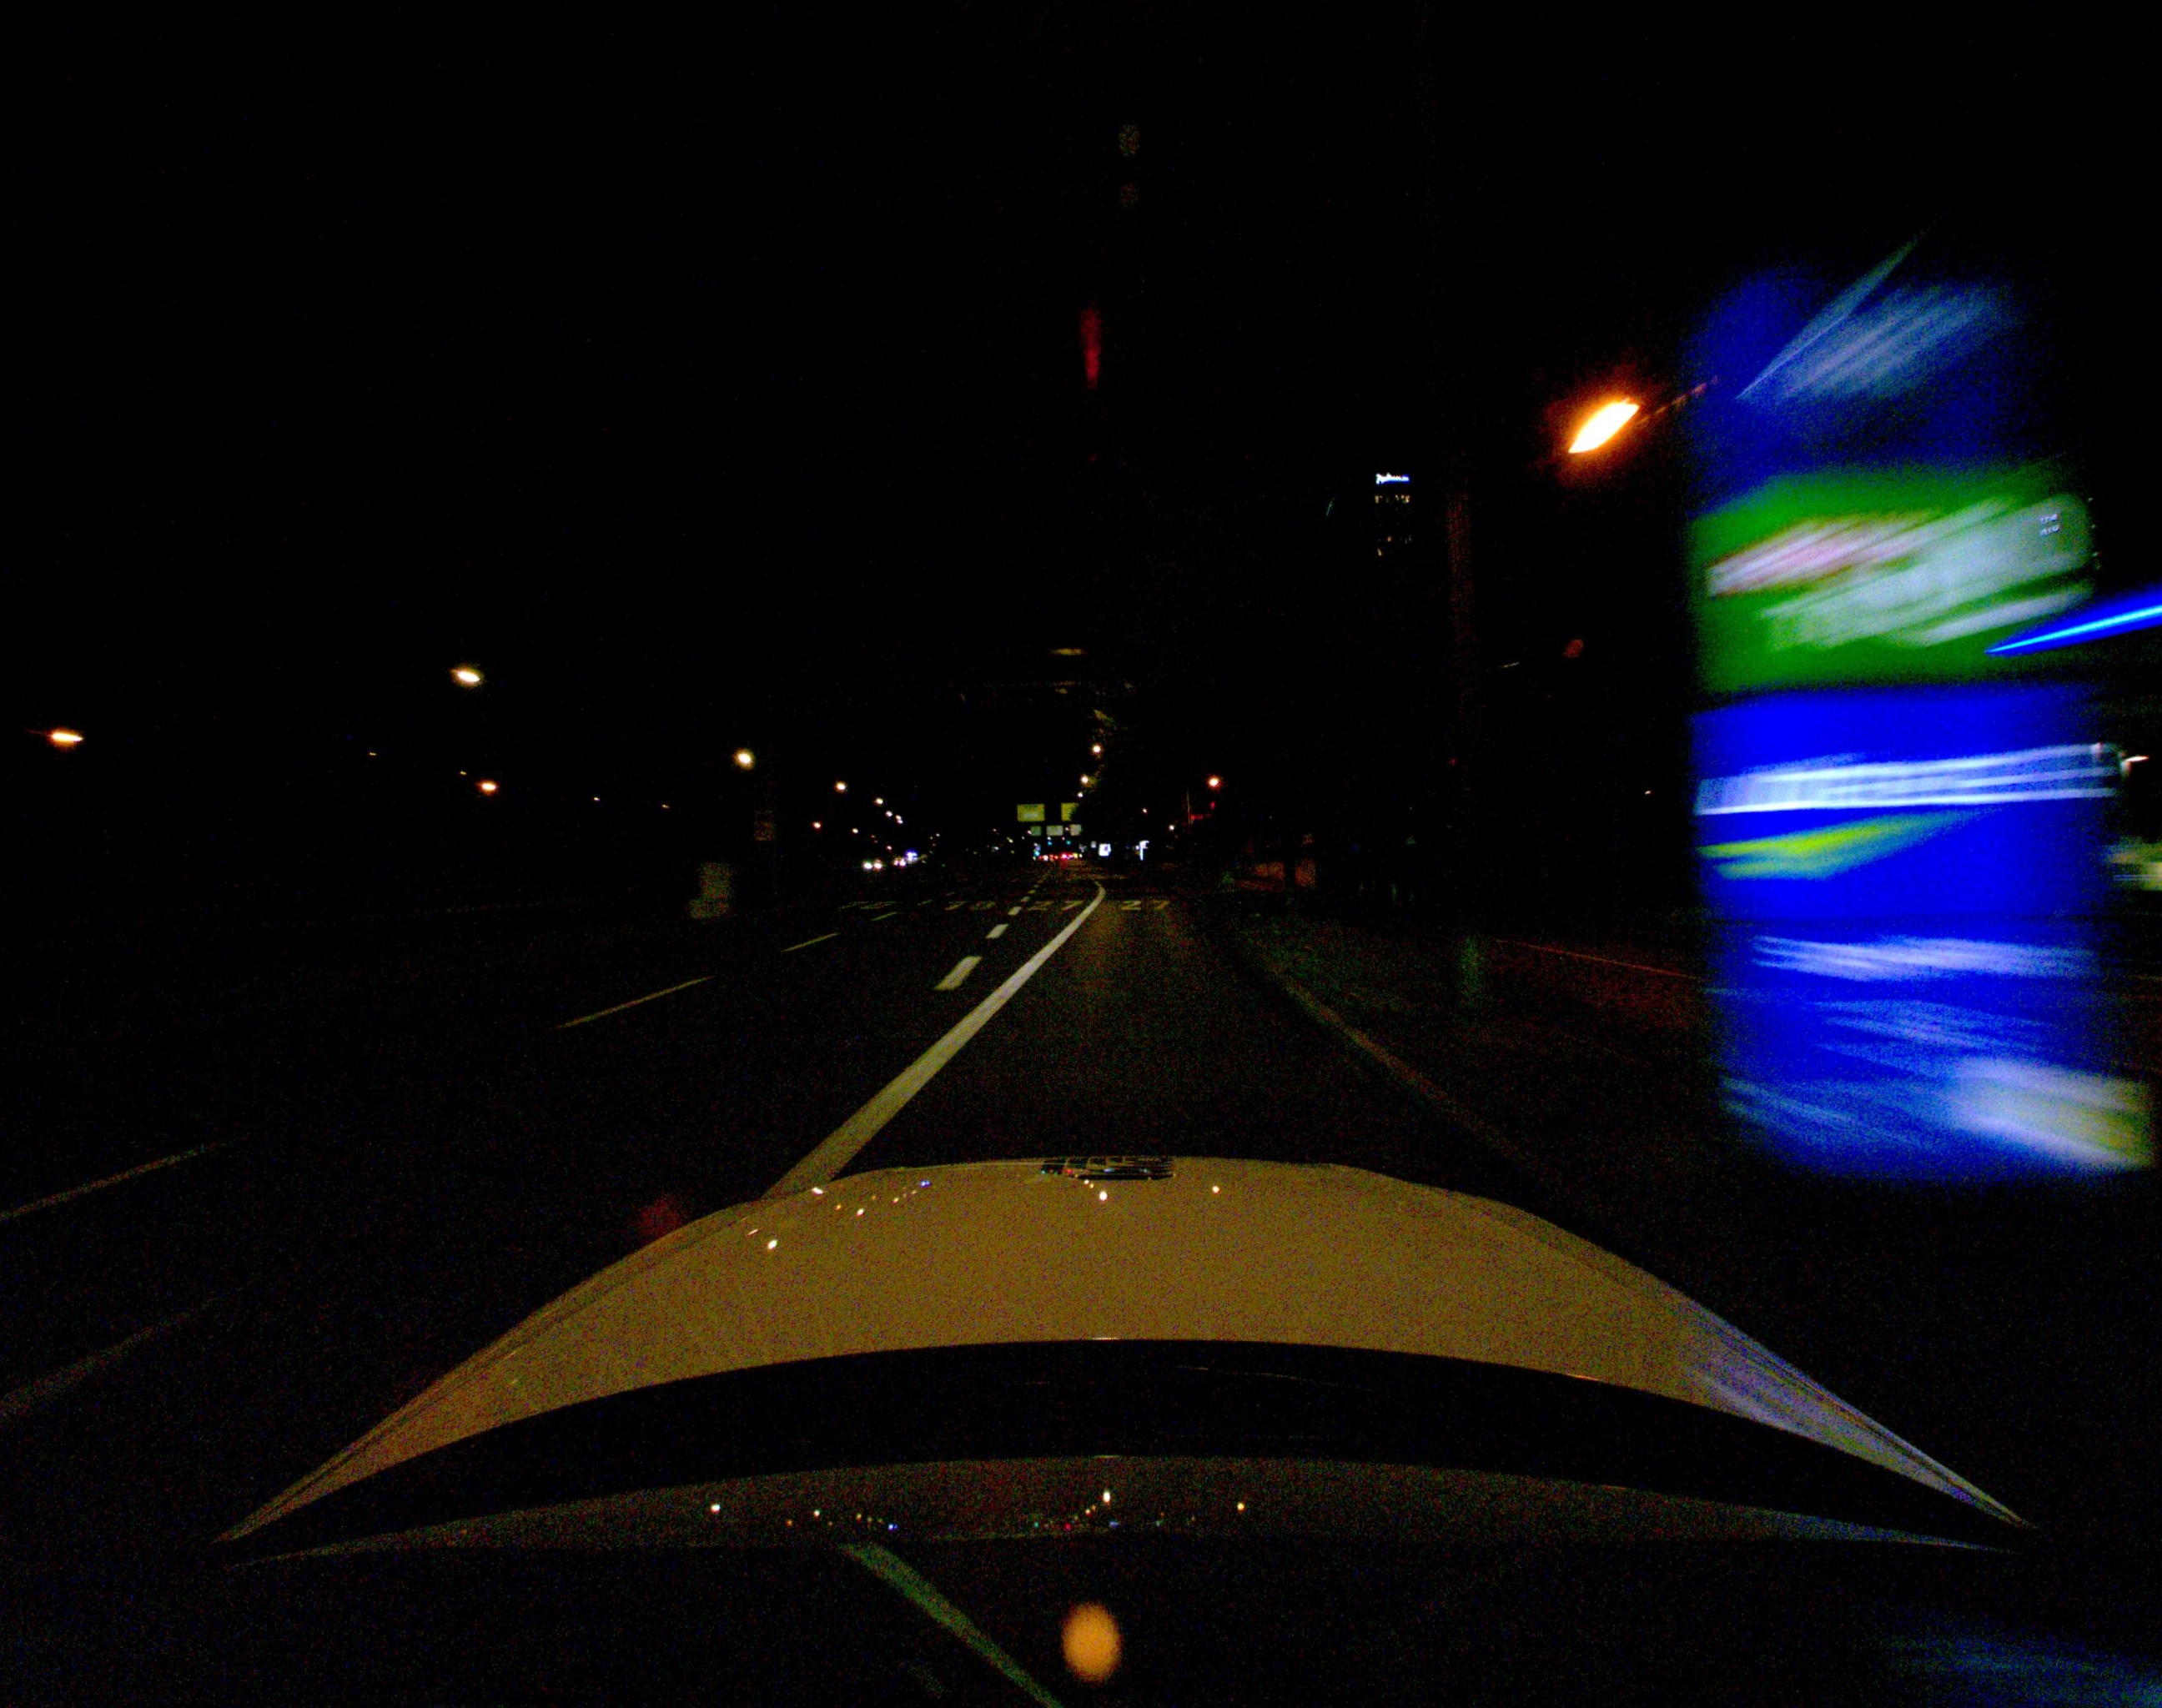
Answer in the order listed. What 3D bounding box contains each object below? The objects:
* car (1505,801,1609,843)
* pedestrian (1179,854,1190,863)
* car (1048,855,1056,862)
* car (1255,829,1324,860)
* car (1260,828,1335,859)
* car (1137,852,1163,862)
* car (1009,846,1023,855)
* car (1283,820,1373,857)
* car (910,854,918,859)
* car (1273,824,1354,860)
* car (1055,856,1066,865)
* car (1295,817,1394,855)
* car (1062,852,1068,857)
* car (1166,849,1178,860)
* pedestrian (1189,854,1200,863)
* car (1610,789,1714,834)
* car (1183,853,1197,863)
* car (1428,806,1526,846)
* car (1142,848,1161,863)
[{"bbox_3d":[21.472,-1.435,36.858,3.627,1.470,1.638,-5,-2,2],"label":"car"},{"bbox_3d":[11.985,0.502,94.448,0.902,1.038,0.776,-3,-2,42],"label":"pedestrian"},{"bbox_3d":[-7.723,1.194,218.275,1.998,1.552,4.295,0,-2,1],"label":"car"},{"bbox_3d":[12.464,-0.552,48.817,3.557,1.570,1.723,-3,-1,-6],"label":"car"},{"bbox_3d":[12.260,-0.565,46.324,3.717,1.489,1.740,-3,-2,-3],"label":"car"},{"bbox_3d":[10.364,0.415,121.837,3.618,1.451,1.704,0,-2,-5],"label":"car"},{"bbox_3d":[-13.652,-0.720,171.388,1.975,1.711,3.971,1,-2,-21],"label":"car"},{"bbox_3d":[12.470,-0.781,41.285,3.974,1.571,1.738,-3,-2,0],"label":"car"},{"bbox_3d":[-47.735,0.773,232.389,1.620,1.481,3.677,0,-2,-1],"label":"car"},{"bbox_3d":[12.523,-0.641,43.923,3.738,1.587,1.778,-4,-2,-3],"label":"car"},{"bbox_3d":[-4.080,1.239,163.853,1.961,1.711,4.000,0,-2,1],"label":"car"},{"bbox_3d":[12.544,-0.834,38.941,4.106,1.522,1.822,-3,-2,0],"label":"car"},{"bbox_3d":[-5.201,0.190,259.668,1.776,1.728,3.997,0,-2,-2],"label":"car"},{"bbox_3d":[13.784,0.100,123.624,1.883,1.511,3.641,0,-2,5],"label":"car"},{"bbox_3d":[13.180,0.485,94.435,1.000,1.008,0.767,1,-2,-17],"label":"pedestrian"},{"bbox_3d":[28.309,-2.060,39.729,3.802,1.895,1.749,-3,-2,-5],"label":"car"},{"bbox_3d":[16.707,0.635,124.872,1.883,1.511,3.641,0,-2,5],"label":"car"},{"bbox_3d":[21.472,-1.504,44.270,4.345,1.725,1.751,-5,-2,1],"label":"car"},{"bbox_3d":[10.138,0.259,116.680,1.978,1.945,4.016,-1,-2,16],"label":"car"}]
